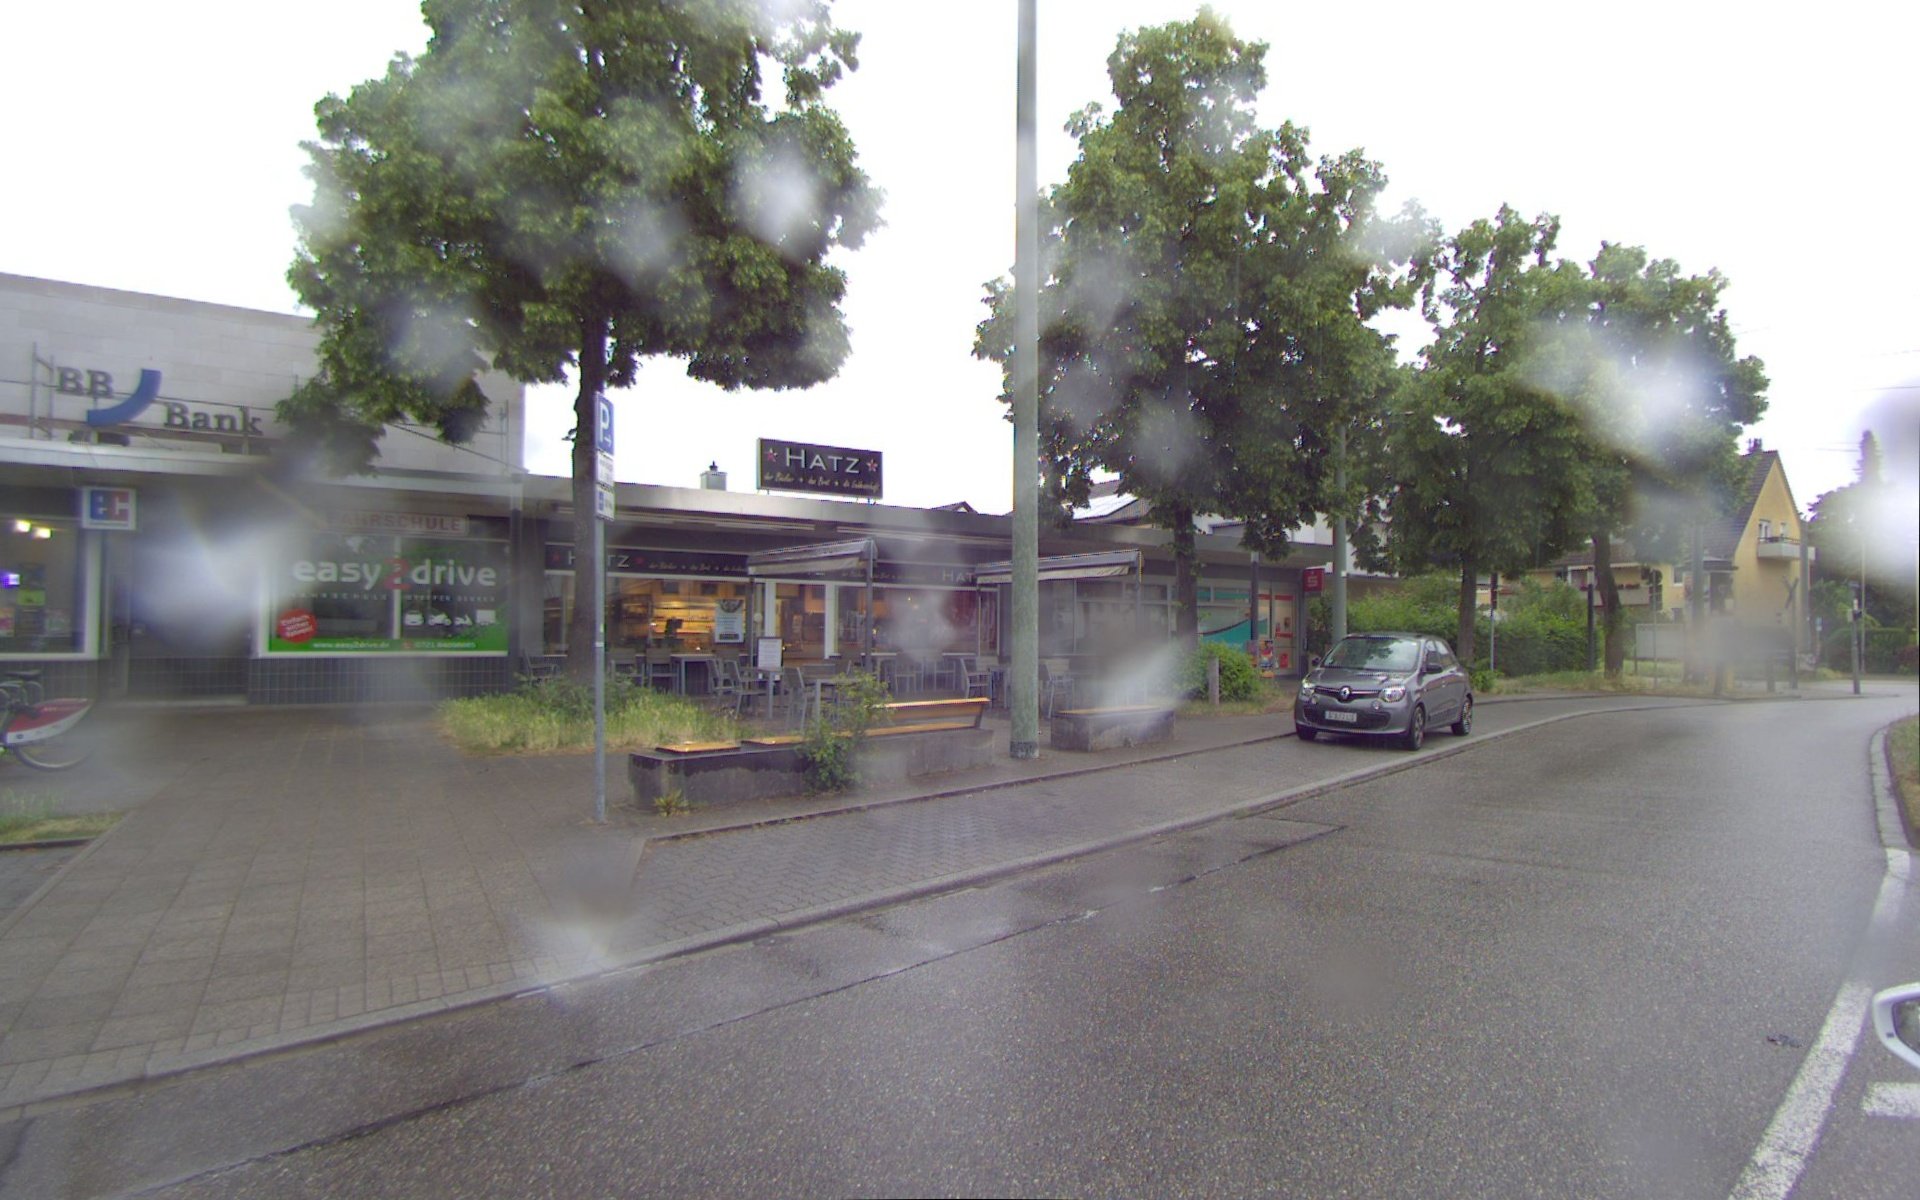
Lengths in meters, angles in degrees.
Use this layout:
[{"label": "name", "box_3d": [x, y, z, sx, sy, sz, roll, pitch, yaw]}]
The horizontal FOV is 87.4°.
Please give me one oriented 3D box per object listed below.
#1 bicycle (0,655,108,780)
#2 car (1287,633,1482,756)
[{"label": "bicycle", "box_3d": [-9.038, 1.090, 9.275, 0.314, 1.122, 1.739, 2, 0, 43]}, {"label": "car", "box_3d": [6.343, 1.279, 14.817, 1.598, 1.516, 3.649, 2, 0, 40]}]
